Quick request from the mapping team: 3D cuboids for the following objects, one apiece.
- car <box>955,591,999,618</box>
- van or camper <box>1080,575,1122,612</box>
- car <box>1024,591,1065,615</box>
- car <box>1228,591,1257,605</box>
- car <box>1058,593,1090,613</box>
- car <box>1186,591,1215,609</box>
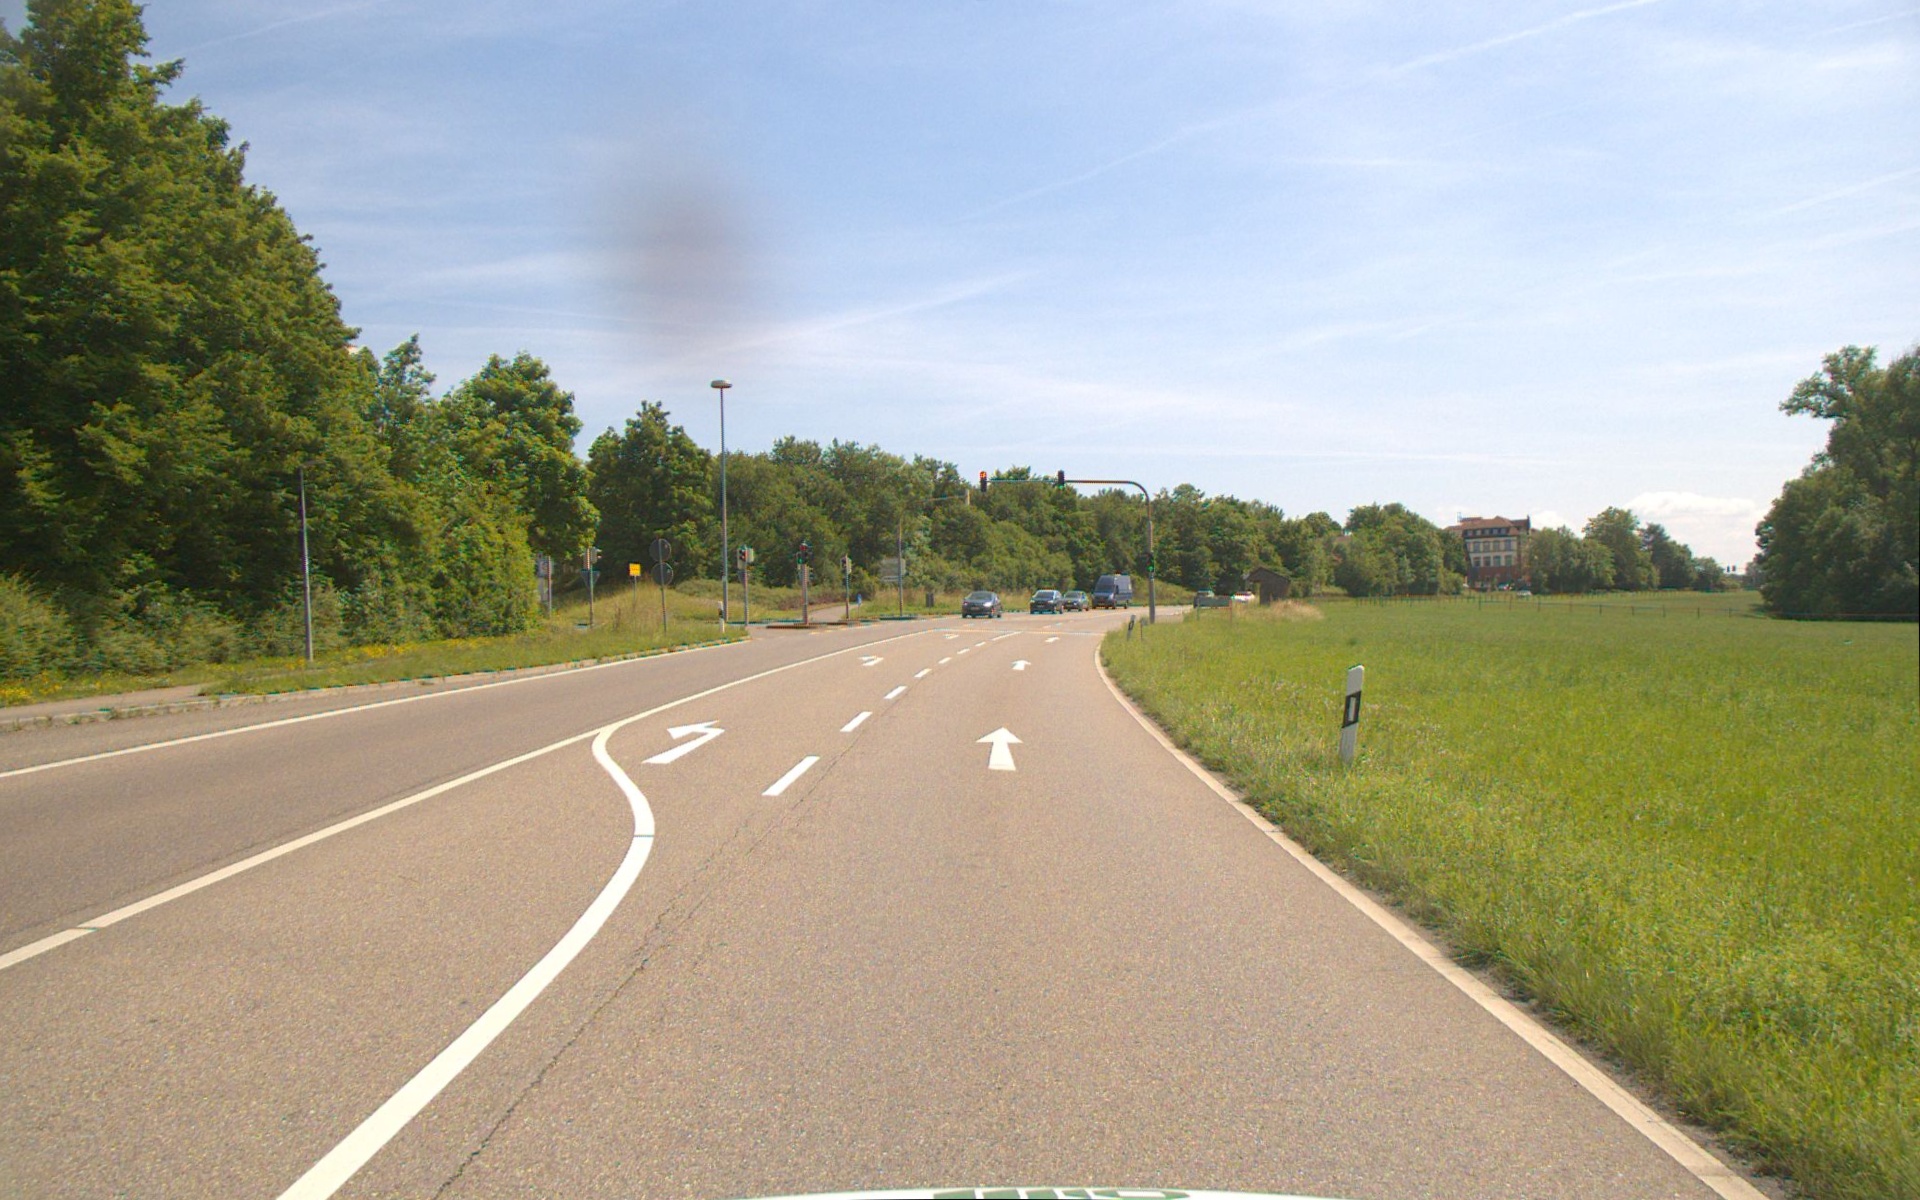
[{"bbox_3d":[0.973,0.250,93.774,1.753,1.500,4.314,0,0,11],"label":"car"},{"bbox_3d":[12.003,-0.616,140.275,2.192,2.964,7.252,0,1,16],"label":"van or camper"},{"bbox_3d":[5.732,0.223,112.189,1.932,1.589,4.192,0,0,15],"label":"car"},{"bbox_3d":[31.757,-0.193,185.908,1.899,1.575,4.623,0,0,26],"label":"car"},{"bbox_3d":[8.696,0.243,125.892,1.670,1.509,3.835,0,0,16],"label":"car"},{"bbox_3d":[21.571,-0.022,148.391,1.951,1.601,4.002,0,0,18],"label":"car"}]
